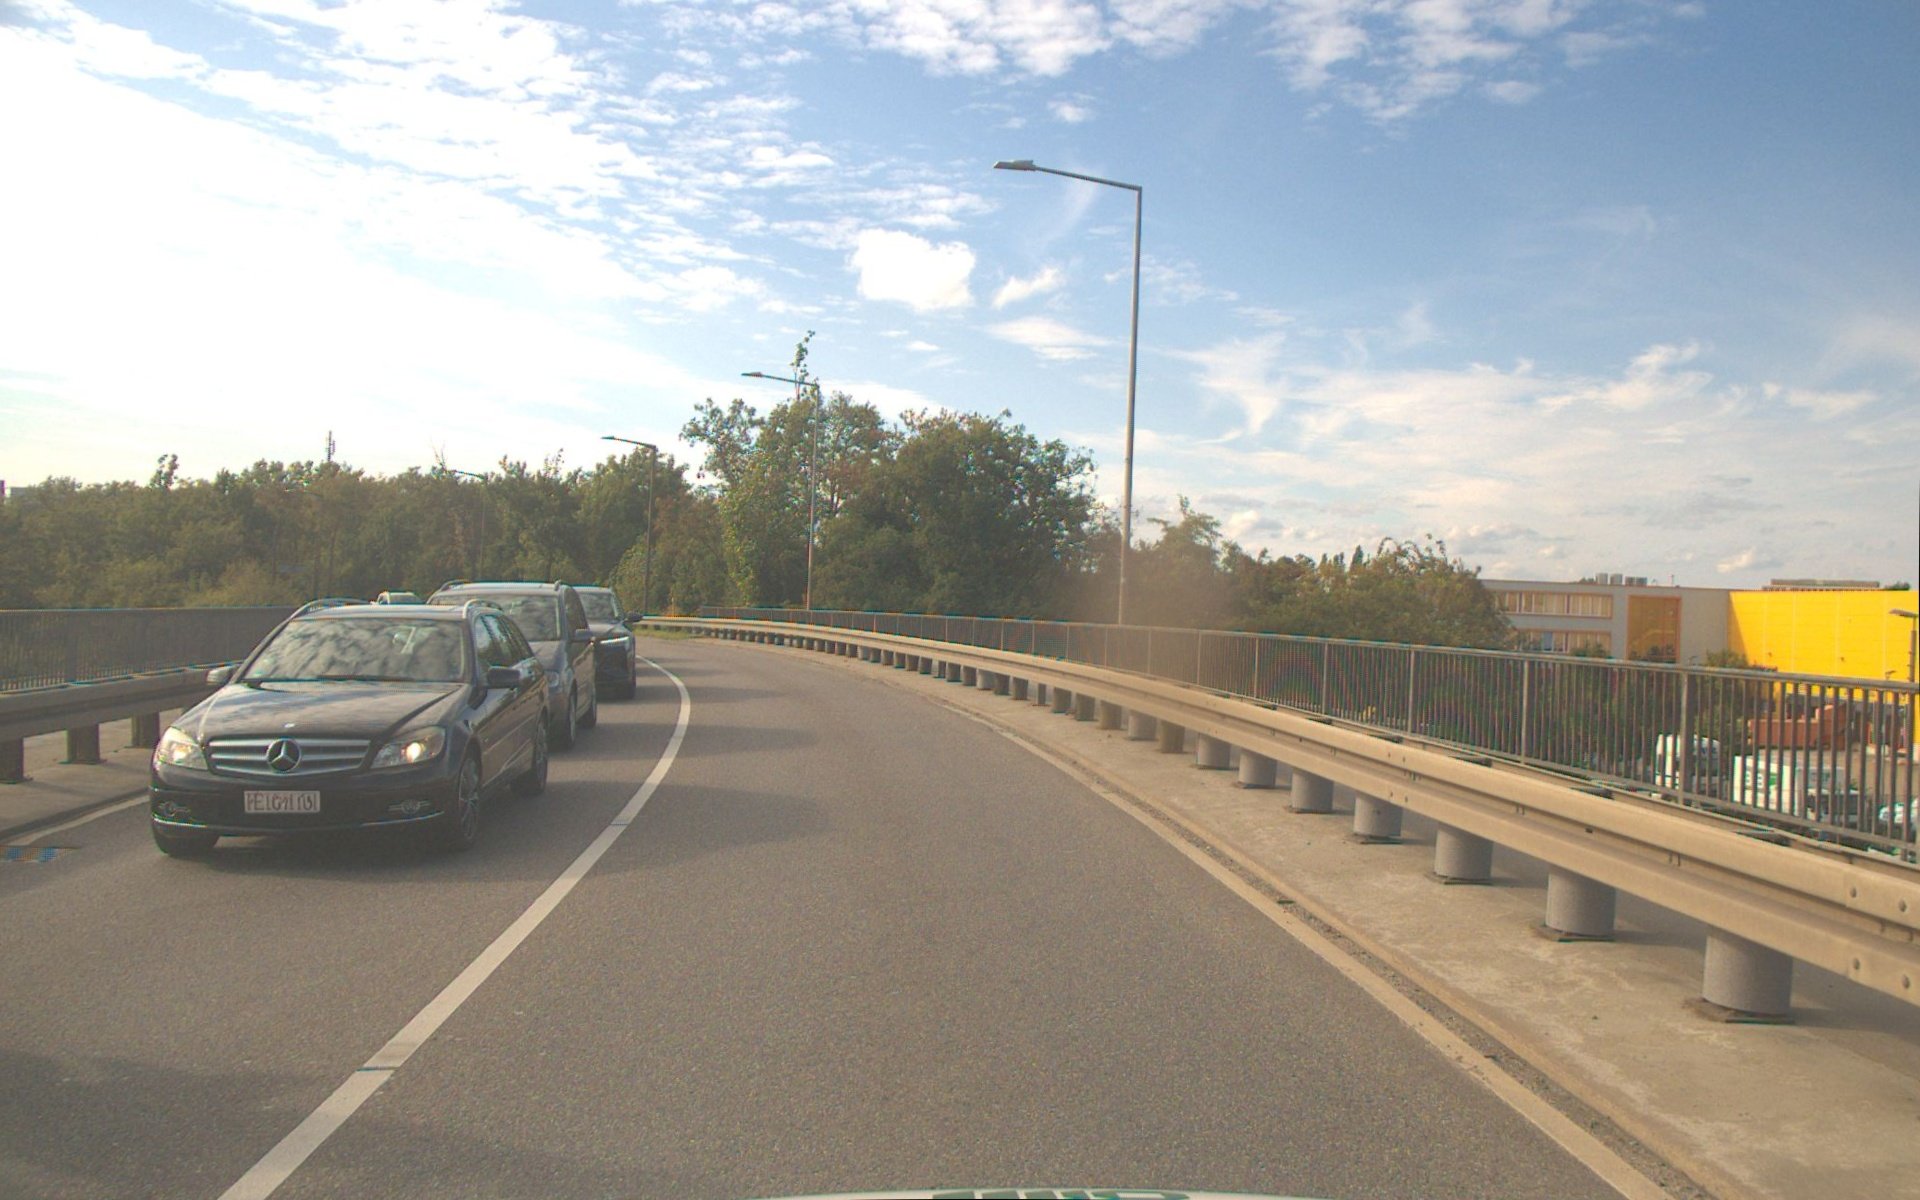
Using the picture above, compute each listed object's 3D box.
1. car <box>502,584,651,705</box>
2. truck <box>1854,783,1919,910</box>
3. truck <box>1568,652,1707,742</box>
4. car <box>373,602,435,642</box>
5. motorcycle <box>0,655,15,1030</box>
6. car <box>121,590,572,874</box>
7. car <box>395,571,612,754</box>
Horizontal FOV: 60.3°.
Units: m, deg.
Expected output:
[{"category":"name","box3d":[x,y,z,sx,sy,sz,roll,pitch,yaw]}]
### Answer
[{"category":"car","box3d":[-5.821,0.617,25.562,1.890,1.678,4.579,0,0,-9]},{"category":"truck","box3d":[37.457,8.921,60.208,8.416,4.162,2.667,0,1,-1]},{"category":"truck","box3d":[41.524,5.816,101.966,3.556,4.940,11.272,0,0,-2]},{"category":"car","box3d":[-26.582,1.011,78.931,1.880,1.842,5.350,0,0,-29]},{"category":"motorcycle","box3d":[-3.569,0.834,4.833,0.607,1.274,1.792,0,0,-1]},{"category":"car","box3d":[-3.797,0.695,11.106,1.798,1.491,4.511,0,0,-7]},{"category":"car","box3d":[-4.680,0.573,17.488,1.650,1.678,4.290,0,0,-8]}]
